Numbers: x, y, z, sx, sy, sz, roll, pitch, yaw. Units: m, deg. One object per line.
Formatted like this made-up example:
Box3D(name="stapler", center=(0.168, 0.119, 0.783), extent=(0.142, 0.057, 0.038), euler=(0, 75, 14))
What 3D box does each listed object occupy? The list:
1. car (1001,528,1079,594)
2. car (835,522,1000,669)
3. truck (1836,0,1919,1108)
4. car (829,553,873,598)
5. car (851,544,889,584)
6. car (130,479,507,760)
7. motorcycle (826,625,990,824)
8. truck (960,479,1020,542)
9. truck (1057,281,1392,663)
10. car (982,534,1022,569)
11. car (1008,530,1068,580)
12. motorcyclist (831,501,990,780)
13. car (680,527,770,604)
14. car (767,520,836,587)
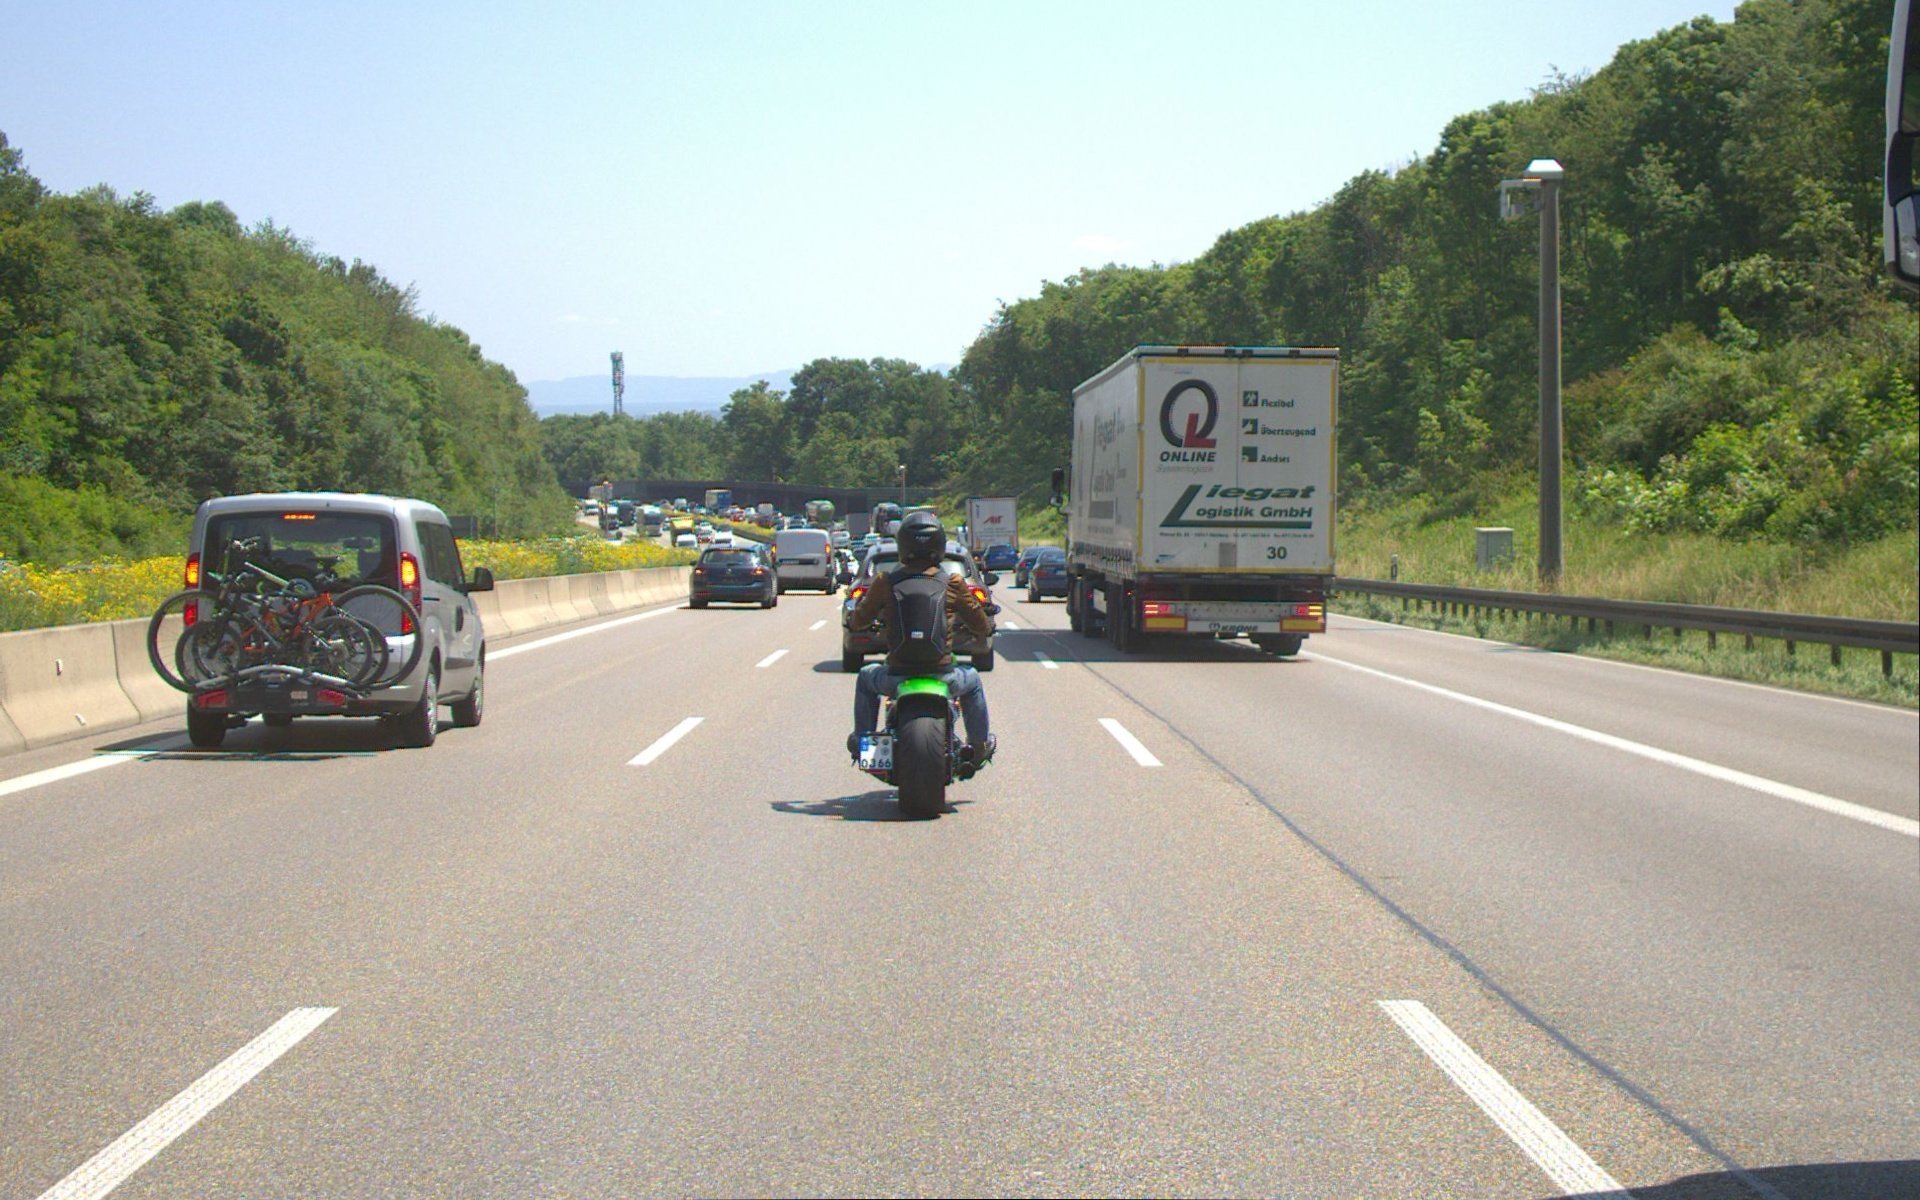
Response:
Box3D(name="car", center=(2.024, -1.028, 88.434), extent=(1.831, 1.553, 4.120), euler=(1, 2, -1))
Box3D(name="car", center=(-0.517, -0.100, 41.048), extent=(1.845, 1.552, 4.440), euler=(1, 2, -1))
Box3D(name="truck", center=(3.681, -0.631, 3.639), extent=(2.680, 4.045, 10.627), euler=(1, 2, 0))
Box3D(name="car", center=(-4.724, -1.088, 149.152), extent=(1.831, 1.804, 4.120), euler=(1, 2, -1))
Box3D(name="car", center=(-4.411, -1.793, 169.390), extent=(1.831, 1.804, 4.120), euler=(1, 2, -1))
Box3D(name="car", center=(-4.686, 0.038, 25.923), extent=(1.898, 1.841, 5.484), euler=(1, 2, -1))
Box3D(name="motorcycle", center=(-0.267, 0.667, 19.222), extent=(0.862, 0.978, 2.131), euler=(0, 1, 0))
Box3D(name="truck", center=(1.618, -5.025, 191.616), extent=(3.067, 3.335, 9.653), euler=(2, 2, -1))
Box3D(name="truck", center=(3.569, -1.919, 52.067), extent=(3.383, 4.701, 17.711), euler=(2, 2, -1))
Box3D(name="car", center=(2.028, -2.397, 168.762), extent=(1.831, 1.553, 4.120), euler=(1, 2, -1))
Box3D(name="car", center=(2.613, -1.535, 116.150), extent=(1.831, 1.553, 4.120), euler=(1, 2, -1))
Box3D(name="motorcyclist", center=(-0.265, 0.210, 19.106), extent=(0.856, 1.509, 0.914), euler=(0, 1, 0))
Box3D(name="car", center=(-5.214, -0.791, 76.622), extent=(1.758, 1.538, 4.396), euler=(1, 2, -1))
Box3D(name="car", center=(-4.547, -1.364, 98.885), extent=(1.831, 1.804, 4.120), euler=(1, 2, -1))
